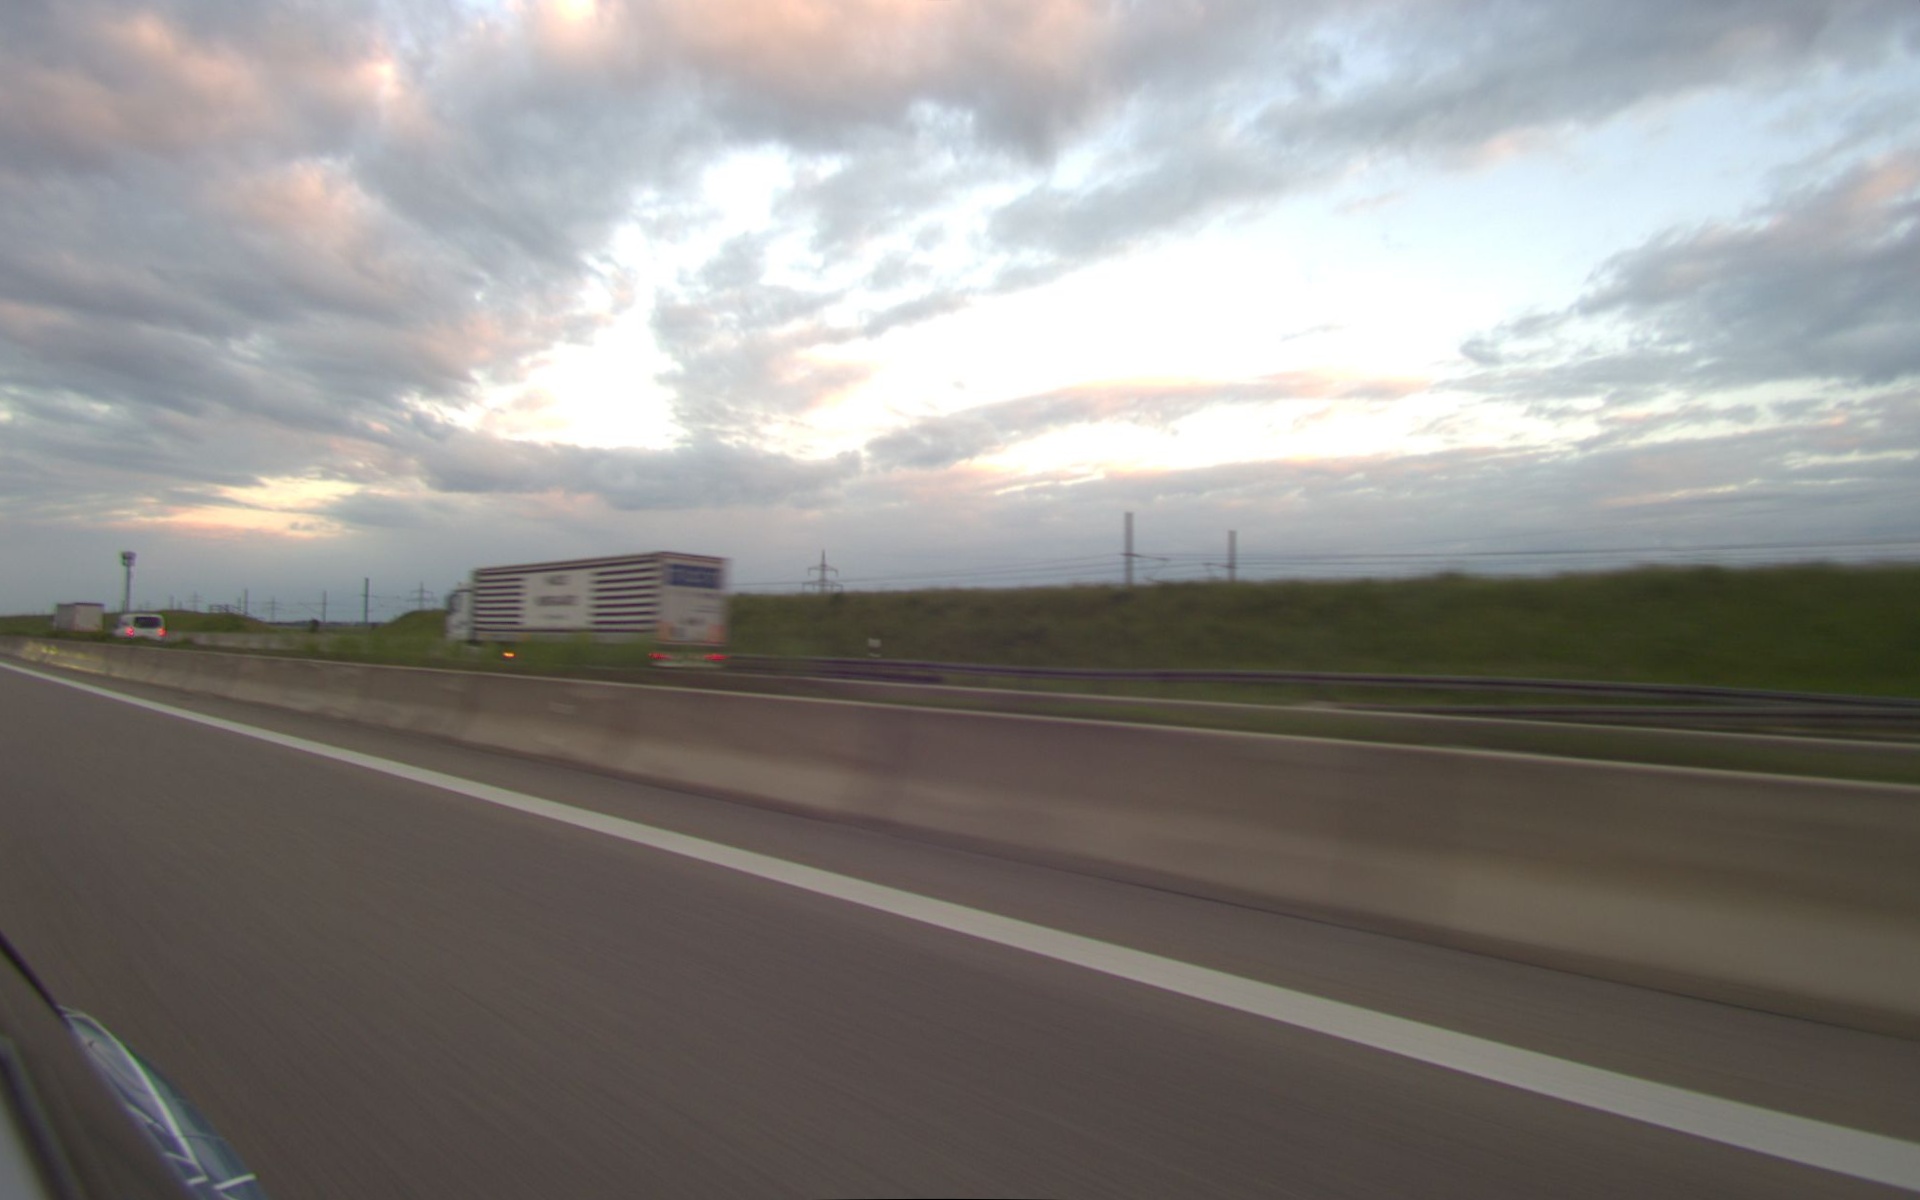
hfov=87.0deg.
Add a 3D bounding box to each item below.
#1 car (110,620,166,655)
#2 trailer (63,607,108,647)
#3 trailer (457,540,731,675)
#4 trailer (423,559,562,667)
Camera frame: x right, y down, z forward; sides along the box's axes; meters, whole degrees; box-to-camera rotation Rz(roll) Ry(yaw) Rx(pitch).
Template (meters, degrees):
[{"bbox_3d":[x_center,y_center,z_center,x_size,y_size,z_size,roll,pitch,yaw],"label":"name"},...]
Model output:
[{"bbox_3d":[-58.817,2.682,72.387,6.491,2.362,2.105,-2,-3,42],"label":"car"},{"bbox_3d":[-100.380,3.166,116.083,12.841,4.385,2.786,-2,-1,44],"label":"trailer"},{"bbox_3d":[-13.999,0.453,37.188,15.107,4.146,2.657,-2,-4,43],"label":"trailer"},{"bbox_3d":[-19.649,0.621,42.329,6.937,4.146,2.657,-2,-4,42],"label":"trailer"}]
